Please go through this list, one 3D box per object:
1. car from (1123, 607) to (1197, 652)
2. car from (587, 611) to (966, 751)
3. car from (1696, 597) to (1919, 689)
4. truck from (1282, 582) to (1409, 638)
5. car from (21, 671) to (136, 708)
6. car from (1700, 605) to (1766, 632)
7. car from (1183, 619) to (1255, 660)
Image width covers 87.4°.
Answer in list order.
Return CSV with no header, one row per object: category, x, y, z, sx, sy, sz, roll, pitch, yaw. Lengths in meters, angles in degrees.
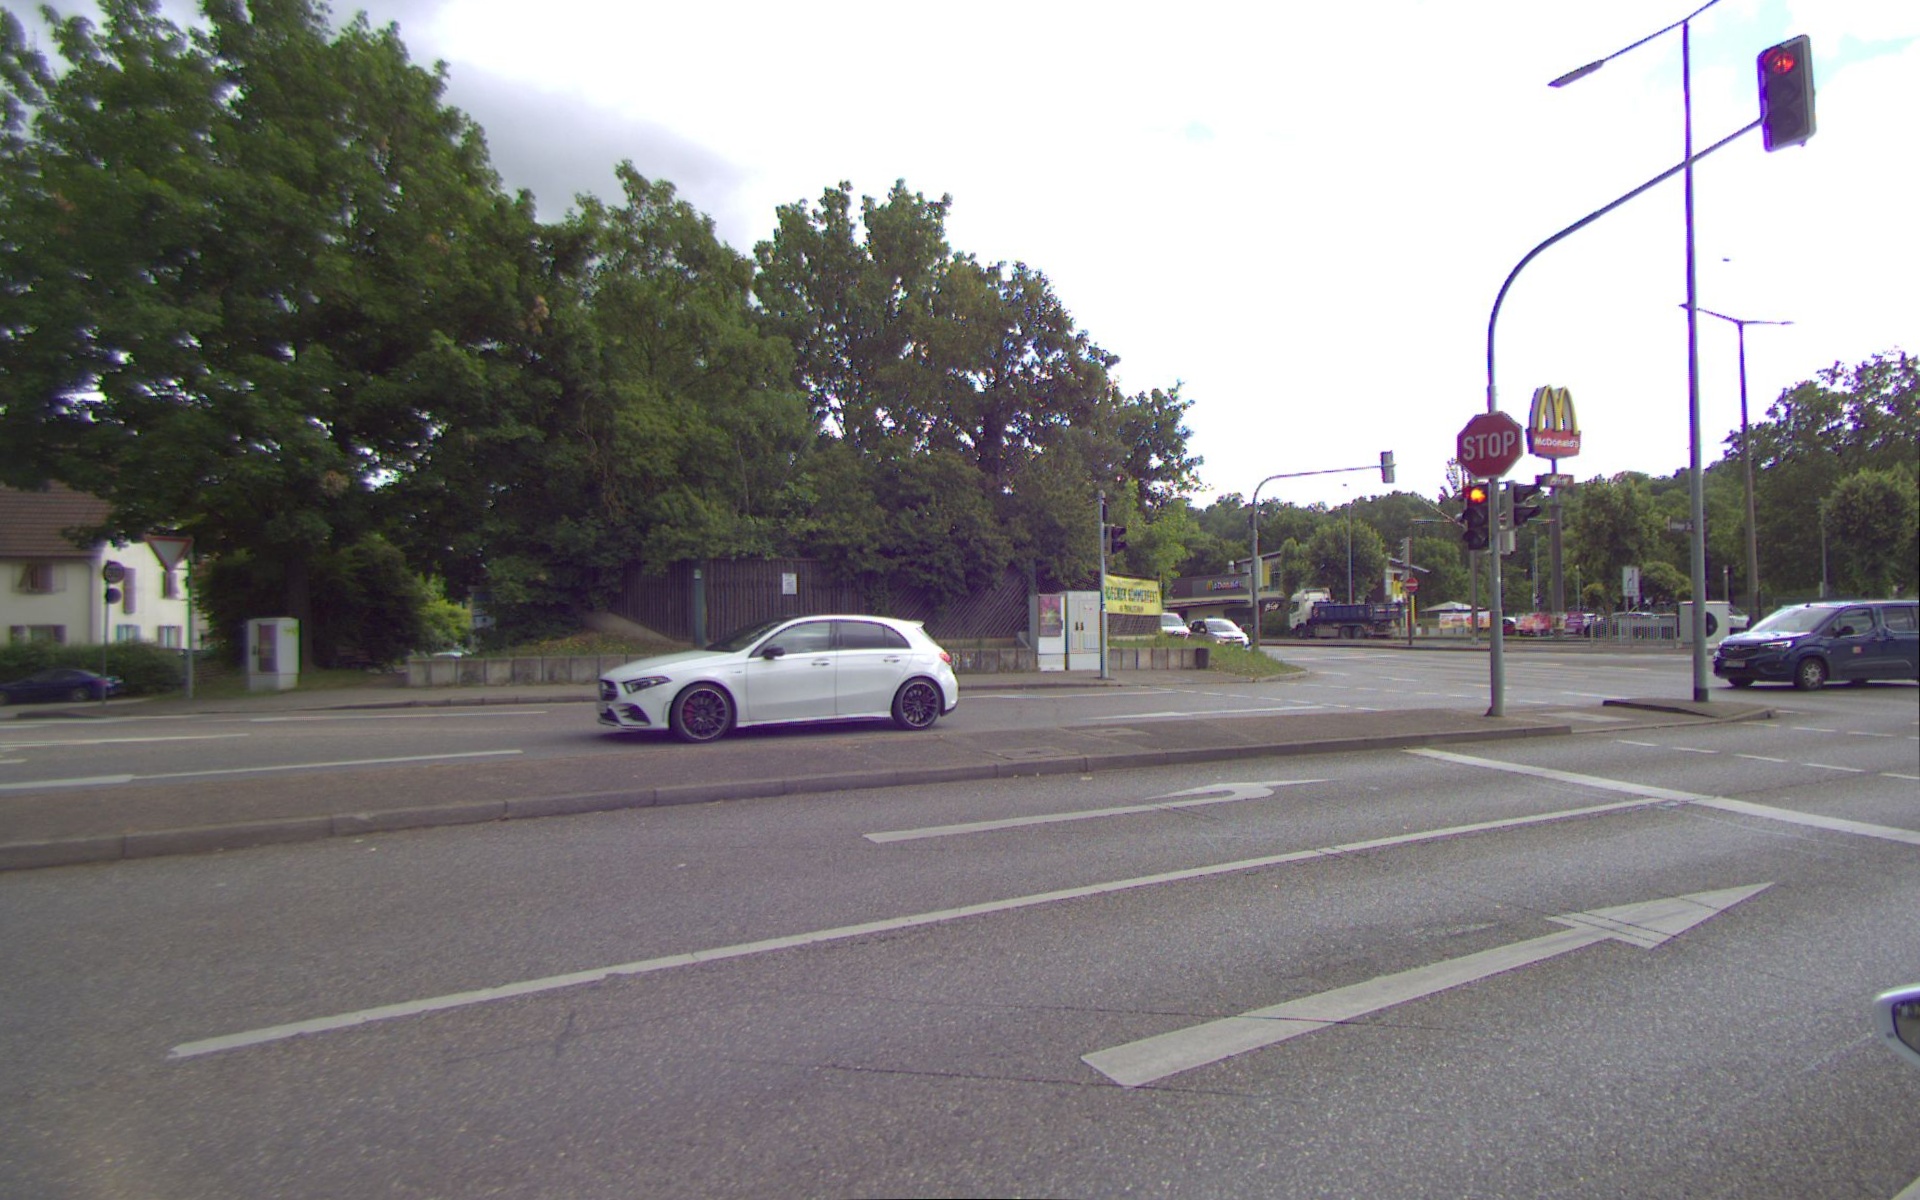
car,9.566,1.404,48.403,1.964,2.040,4.517,-1,-1,-10
car,-2.136,0.864,12.176,4.245,1.424,1.591,0,-1,-33
car,18.065,0.864,20.810,4.470,1.797,1.607,-1,-1,-2
truck,27.246,0.823,71.688,3.172,3.634,9.087,0,-3,-21
car,-38.319,3.876,43.744,3.383,1.427,1.542,0,-1,-16
car,62.475,1.539,81.213,3.946,2.040,1.988,-3,-3,44
car,10.618,1.594,41.364,1.638,1.595,3.019,0,-1,-14
